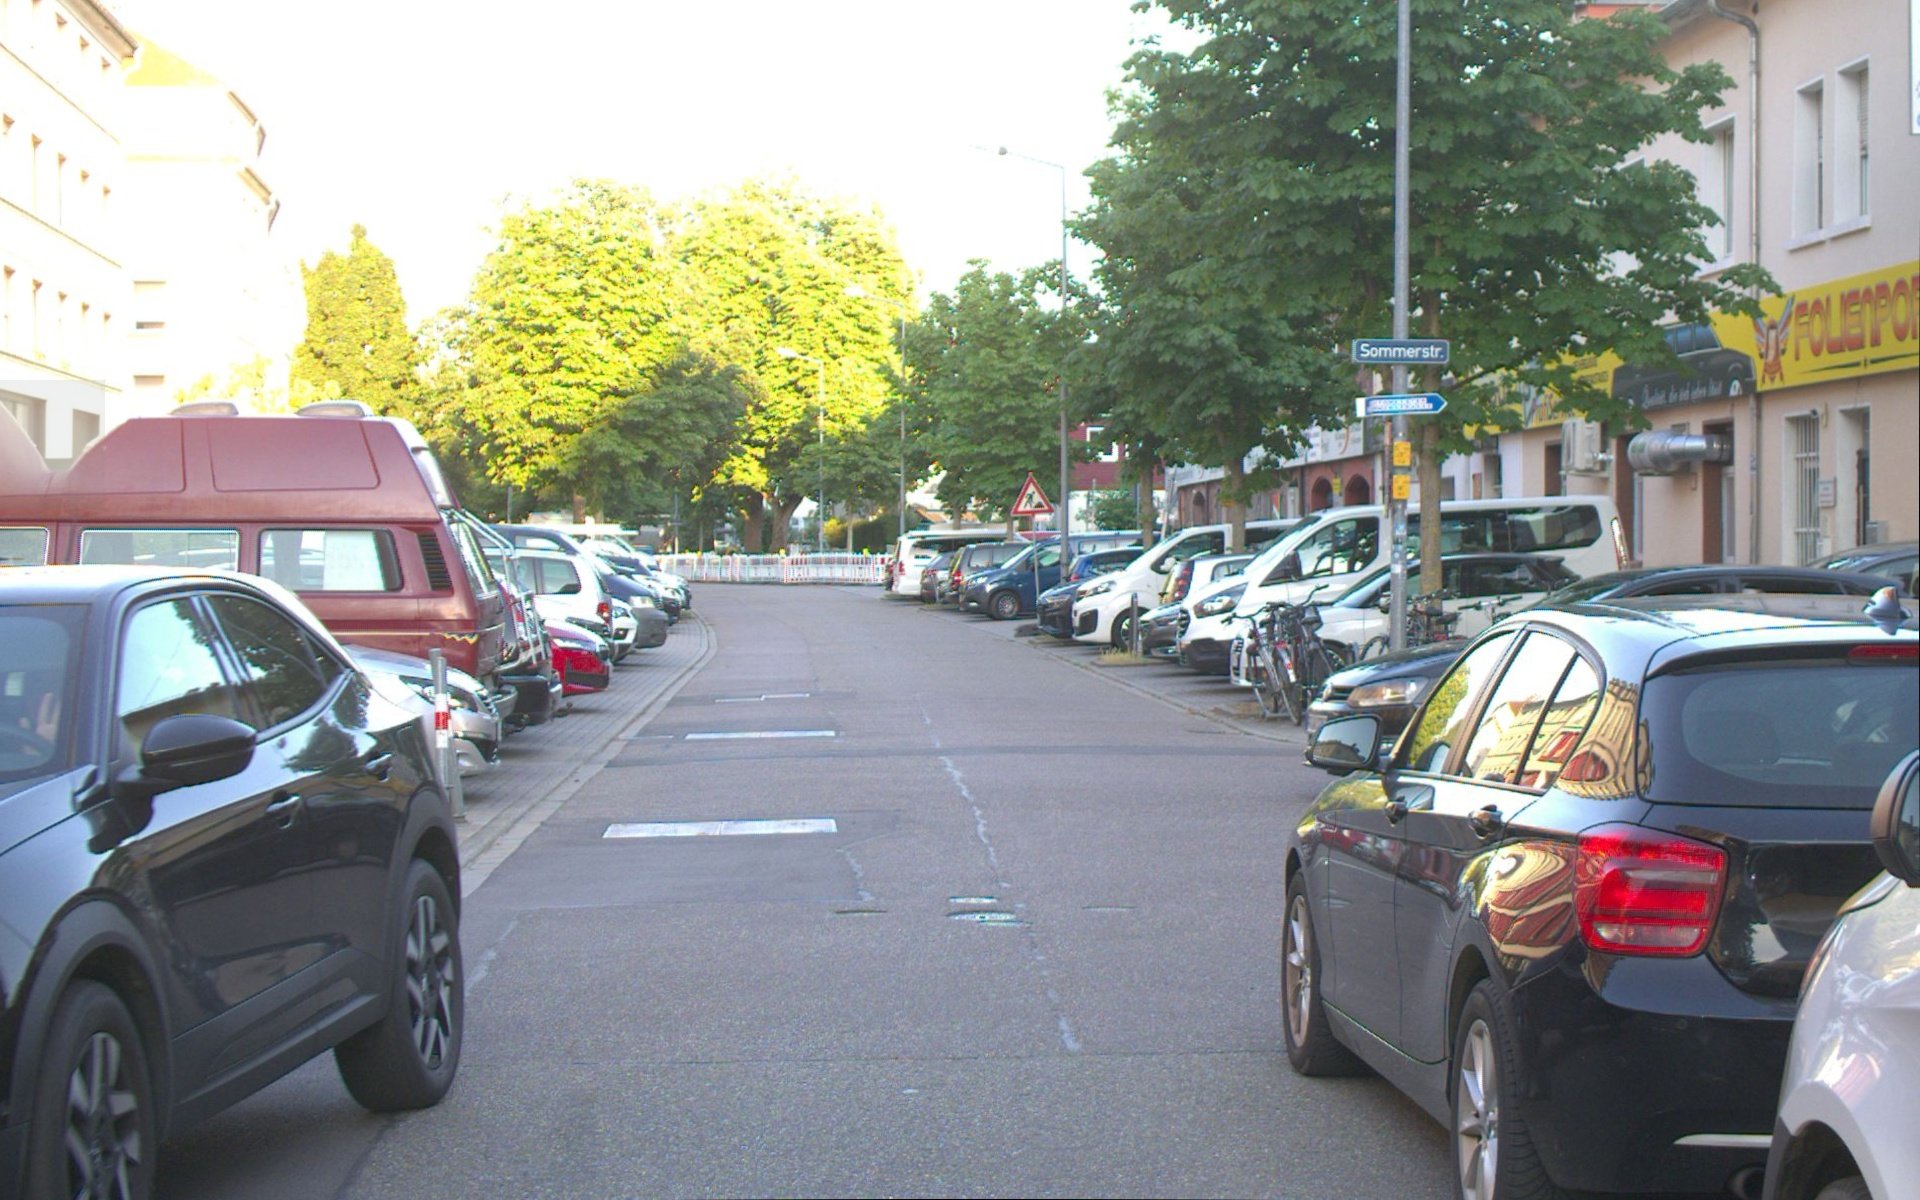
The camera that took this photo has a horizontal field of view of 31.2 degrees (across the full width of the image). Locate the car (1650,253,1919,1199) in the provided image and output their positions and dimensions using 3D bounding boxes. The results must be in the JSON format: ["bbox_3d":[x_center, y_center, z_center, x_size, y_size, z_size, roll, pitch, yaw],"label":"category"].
[{"bbox_3d":[2.170,0.542,3.021,1.893,1.877,5.083,0,1,-3],"label":"car"}]

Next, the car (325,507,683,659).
[{"bbox_3d":[-6.433,-0.254,48.902,4.850,2.014,1.907,1,1,-2],"label":"car"}]

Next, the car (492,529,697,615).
[{"bbox_3d":[-7.913,-0.616,74.740,4.256,1.743,2.000,1,1,-2],"label":"car"}]

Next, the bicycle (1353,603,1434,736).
[{"bbox_3d":[3.872,0.603,30.811,0.386,1.110,2.017,-1,1,-2],"label":"bicycle"}]

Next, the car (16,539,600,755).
[{"bbox_3d":[-4.945,0.337,26.524,4.208,1.533,1.791,1,1,-4],"label":"car"}]

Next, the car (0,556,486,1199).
[{"bbox_3d":[-2.500,0.689,7.966,1.780,1.512,3.999,-1,1,7],"label":"car"}]

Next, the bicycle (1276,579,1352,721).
[{"bbox_3d":[3.158,0.424,30.758,0.386,1.196,2.017,-1,1,-2],"label":"bicycle"}]

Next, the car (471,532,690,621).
[{"bbox_3d":[-7.682,-0.492,69.973,4.256,1.709,2.000,1,1,-2],"label":"car"}]

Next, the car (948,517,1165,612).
[{"bbox_3d":[2.098,-0.783,75.261,4.478,1.905,1.688,-2,1,-6],"label":"car"}]

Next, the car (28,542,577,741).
[{"bbox_3d":[-5.502,0.323,29.077,4.209,1.533,1.842,1,1,4],"label":"car"}]

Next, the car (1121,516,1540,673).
[{"bbox_3d":[4.578,-0.091,43.080,4.944,1.736,2.049,-2,1,-1],"label":"car"}]

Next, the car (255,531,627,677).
[{"bbox_3d":[-6.287,0.034,41.995,4.256,1.654,2.000,1,1,-2],"label":"car"}]

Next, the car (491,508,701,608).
[{"bbox_3d":[-8.156,-0.939,77.368,4.533,2.127,2.000,1,1,-2],"label":"car"}]

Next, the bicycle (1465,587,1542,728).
[{"bbox_3d":[4.844,0.502,30.672,0.386,1.196,1.481,-1,1,-2],"label":"bicycle"}]

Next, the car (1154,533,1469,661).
[{"bbox_3d":[4.637,-0.058,45.716,3.911,1.521,1.939,-2,1,-1],"label":"car"}]

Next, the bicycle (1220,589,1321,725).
[{"bbox_3d":[2.748,0.486,30.563,0.438,1.126,2.018,-1,1,-7],"label":"bicycle"}]

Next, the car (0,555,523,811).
[{"bbox_3d":[-5.092,0.474,21.373,4.615,1.455,1.881,1,1,-5],"label":"car"}]

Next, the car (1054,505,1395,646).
[{"bbox_3d":[4.042,-0.387,53.052,4.943,1.951,2.049,-2,1,-3],"label":"car"}]

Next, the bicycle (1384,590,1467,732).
[{"bbox_3d":[4.156,0.526,30.803,0.386,1.196,2.017,-1,1,-2],"label":"bicycle"}]

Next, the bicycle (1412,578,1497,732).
[{"bbox_3d":[4.417,0.468,30.818,0.386,1.300,2.017,-1,1,-2],"label":"bicycle"}]

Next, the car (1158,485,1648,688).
[{"bbox_3d":[4.785,-0.168,37.737,4.989,1.976,2.220,-2,1,-1],"label":"car"}]

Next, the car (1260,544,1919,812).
[{"bbox_3d":[3.944,0.421,20.664,3.927,1.450,1.658,-1,1,-13],"label":"car"}]

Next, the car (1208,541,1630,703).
[{"bbox_3d":[4.619,0.201,34.950,3.918,1.446,1.769,-2,1,-4],"label":"car"}]

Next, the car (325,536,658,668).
[{"bbox_3d":[-6.267,0.011,46.353,4.256,1.646,1.888,1,1,-2],"label":"car"}]

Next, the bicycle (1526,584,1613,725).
[{"bbox_3d":[5.422,0.473,30.654,0.445,1.196,1.481,-1,1,-2],"label":"bicycle"}]

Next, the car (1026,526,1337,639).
[{"bbox_3d":[3.686,-0.302,57.825,4.943,1.683,2.077,-2,1,-3],"label":"car"}]

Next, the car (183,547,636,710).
[{"bbox_3d":[-5.401,0.266,34.124,4.209,1.484,1.850,1,1,-1],"label":"car"}]

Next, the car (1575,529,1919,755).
[{"bbox_3d":[6.792,0.267,25.643,4.050,1.509,1.756,-1,3,-1],"label":"car"}]

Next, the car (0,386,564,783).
[{"bbox_3d":[-5.151,-0.132,23.941,4.511,2.575,2.000,1,1,0],"label":"car"}]

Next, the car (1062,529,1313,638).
[{"bbox_3d":[4.132,-0.311,62.744,4.316,1.798,1.811,-2,1,-3],"label":"car"}]

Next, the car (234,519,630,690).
[{"bbox_3d":[-6.012,0.039,39.528,4.256,1.830,2.000,1,1,-2],"label":"car"}]

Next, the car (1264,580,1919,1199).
[{"bbox_3d":[1.888,0.702,8.458,1.721,1.419,4.254,1,1,-2],"label":"car"}]

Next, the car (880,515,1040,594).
[{"bbox_3d":[-0.012,-1.209,90.813,3.967,1.905,2.050,-2,1,-6],"label":"car"}]

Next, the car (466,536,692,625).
[{"bbox_3d":[-7.411,-0.393,67.239,4.256,1.616,2.000,1,1,-3],"label":"car"}]
